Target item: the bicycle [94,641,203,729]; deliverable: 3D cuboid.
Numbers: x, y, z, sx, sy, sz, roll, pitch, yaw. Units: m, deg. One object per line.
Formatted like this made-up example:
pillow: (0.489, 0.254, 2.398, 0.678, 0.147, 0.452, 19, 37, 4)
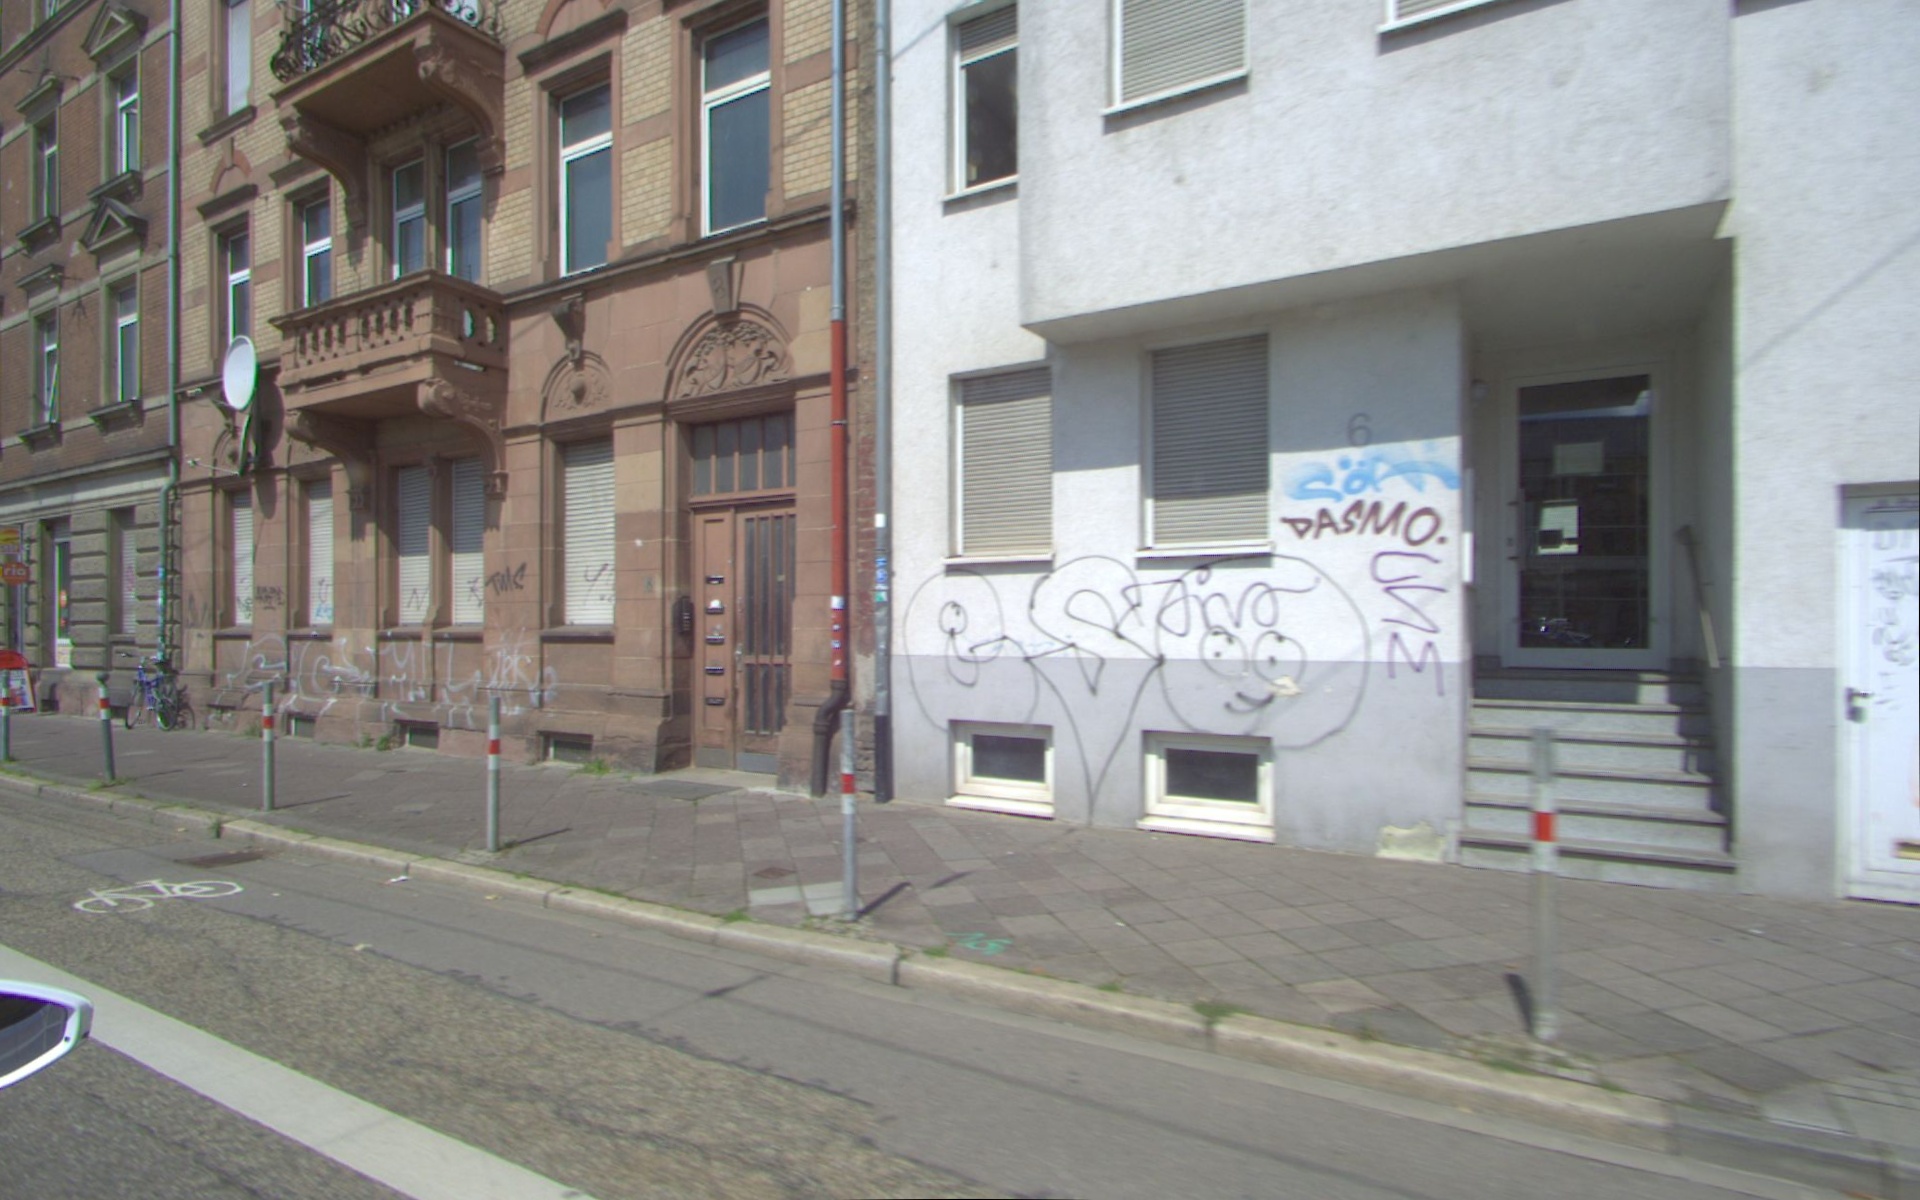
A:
bicycle: (-11.885, 1.207, 14.647, 2.173, 1.193, 0.585, -1, -1, 32)
